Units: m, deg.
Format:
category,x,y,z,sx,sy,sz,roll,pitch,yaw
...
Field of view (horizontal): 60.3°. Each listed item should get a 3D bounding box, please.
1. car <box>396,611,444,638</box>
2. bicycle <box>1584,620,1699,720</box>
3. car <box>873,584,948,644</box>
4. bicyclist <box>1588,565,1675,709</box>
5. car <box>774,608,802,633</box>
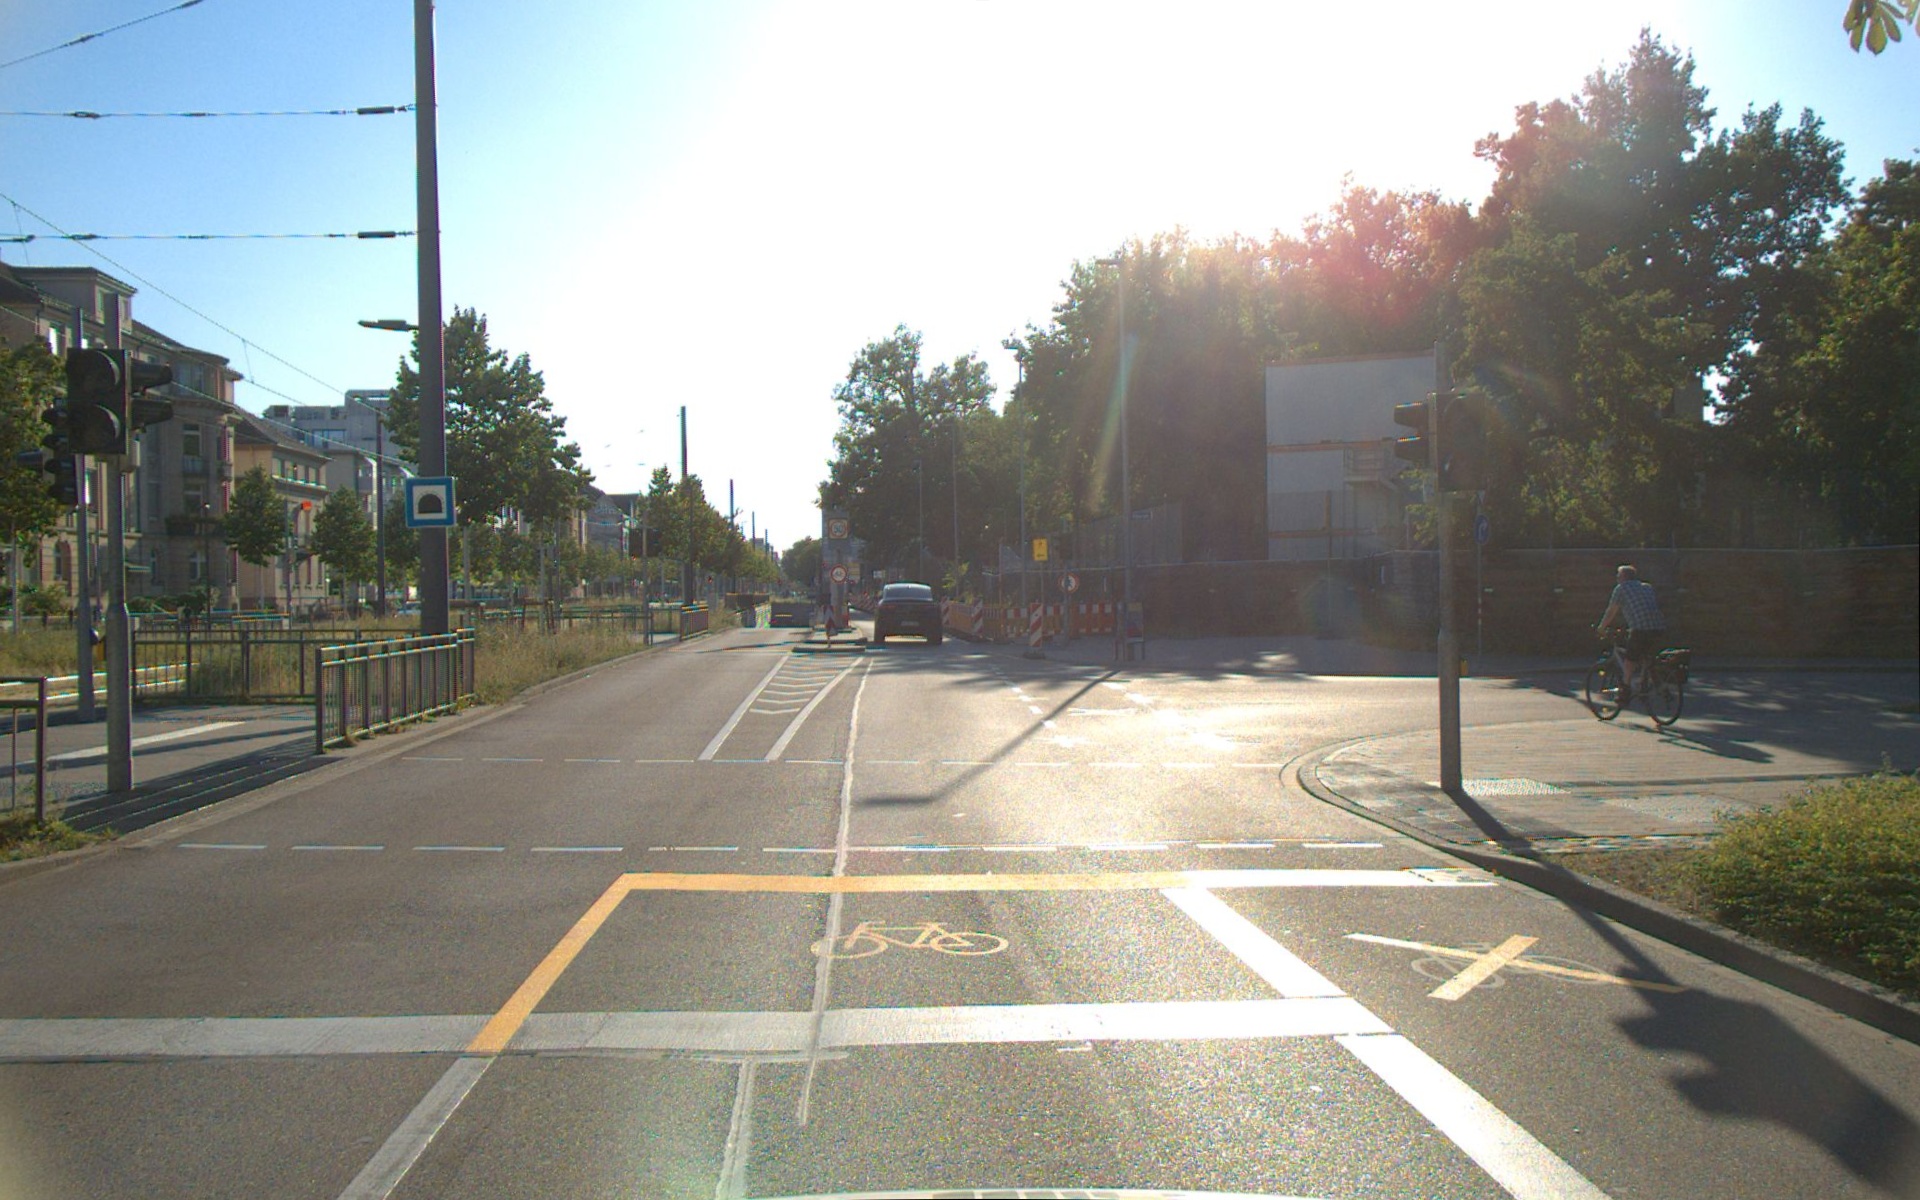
category,x,y,z,sx,sy,sz,roll,pitch,yaw
car,-32.059,1.419,98.323,1.742,1.489,4.657,-1,0,-6
bicycle,7.940,0.790,19.347,0.419,1.080,1.909,-1,0,-4
car,-1.501,0.408,48.658,1.966,1.688,3.996,1,0,-5
bicyclist,7.851,0.423,19.367,0.572,1.643,0.902,-1,0,-5
car,-11.864,1.396,114.245,1.791,1.688,3.996,1,0,-5
